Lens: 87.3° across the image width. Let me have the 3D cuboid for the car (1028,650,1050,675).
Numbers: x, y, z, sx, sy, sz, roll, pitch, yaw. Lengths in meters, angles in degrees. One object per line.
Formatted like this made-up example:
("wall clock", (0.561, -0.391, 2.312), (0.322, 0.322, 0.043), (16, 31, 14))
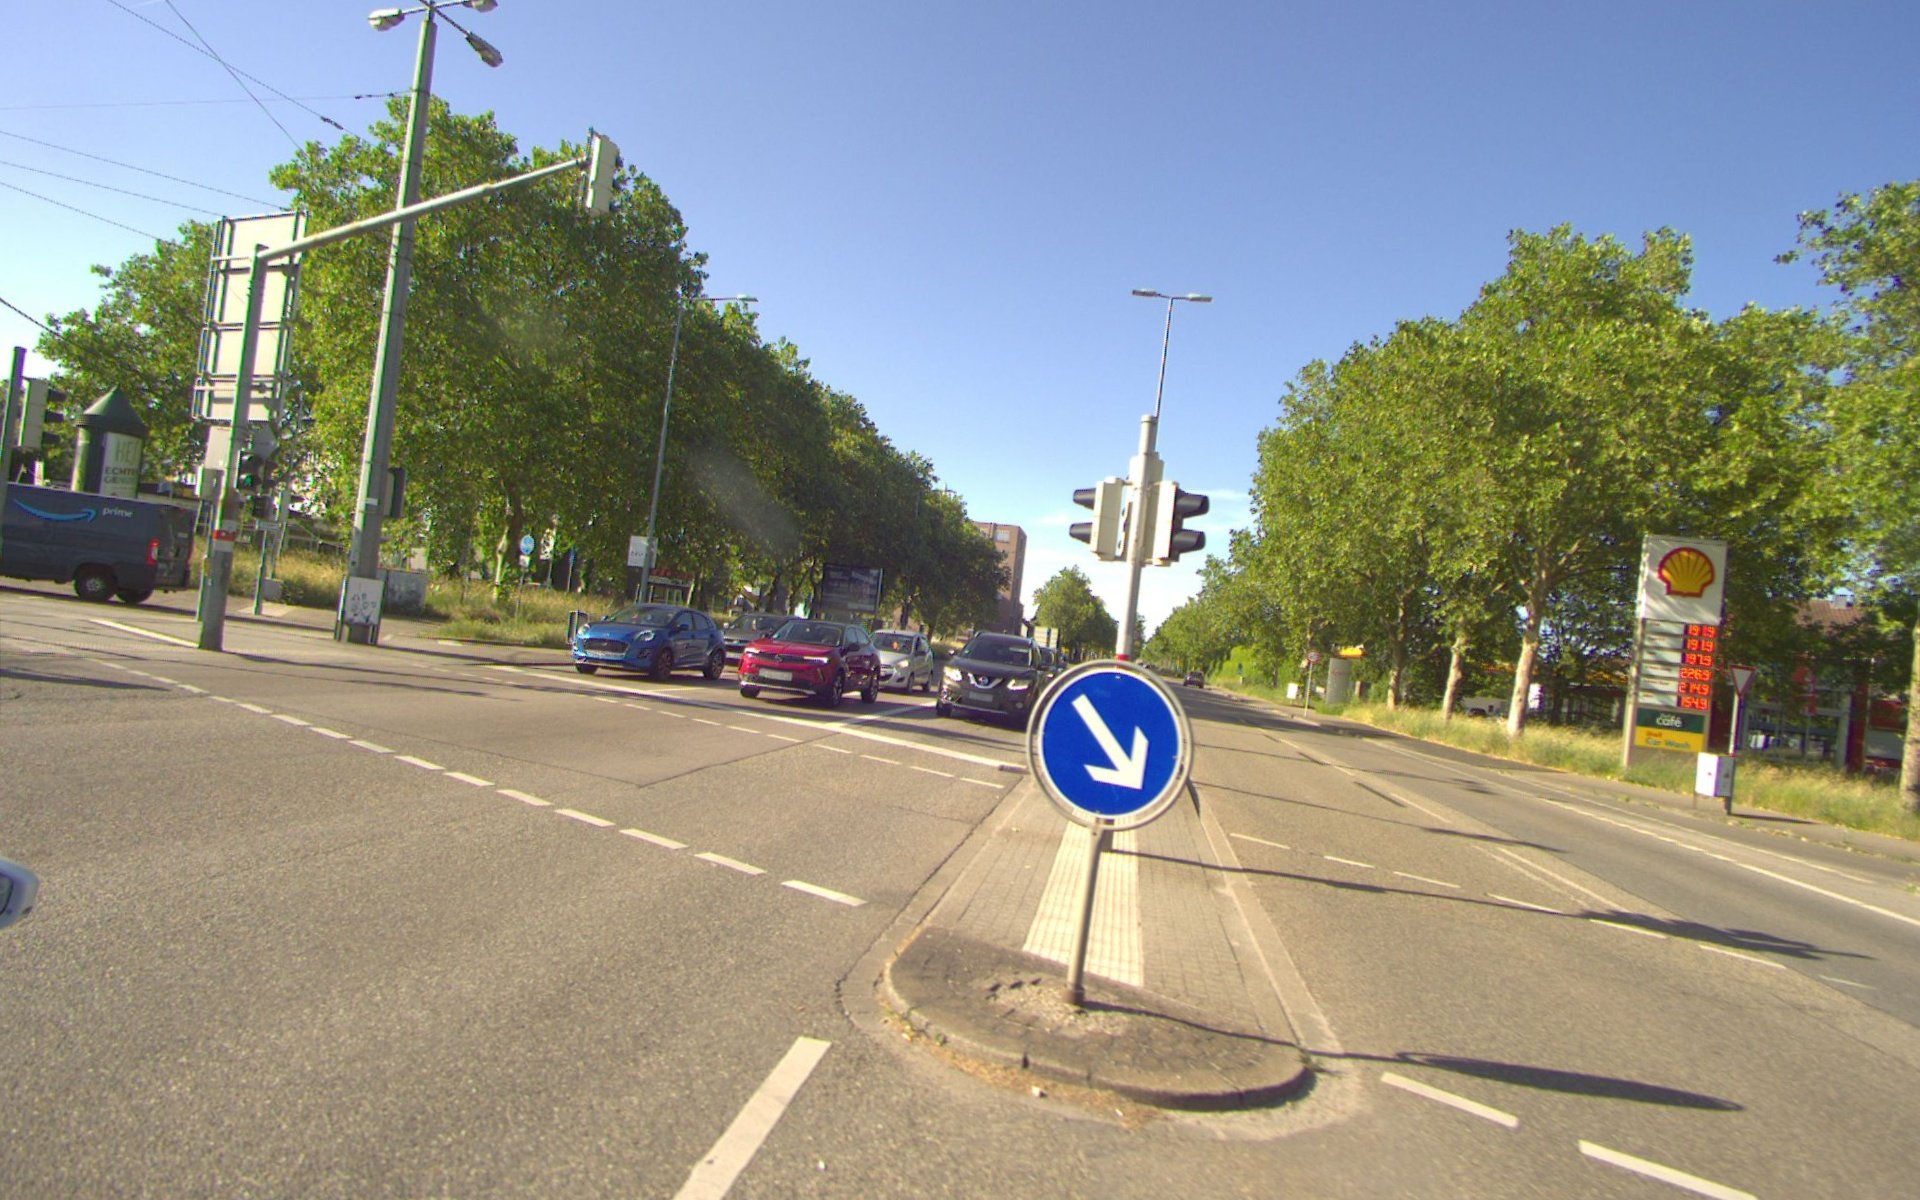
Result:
("car", (5.577, 4.393, 71.033), (1.346, 1.635, 3.213), (4, -2, 7))

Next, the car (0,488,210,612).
("car", (-19.269, -1.145, 21.152), (5.057, 2.094, 2.119), (8, -2, -25))

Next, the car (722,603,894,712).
("car", (-2.696, 1.083, 18.887), (1.781, 1.619, 4.095), (6, -2, 11))

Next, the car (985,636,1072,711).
("car", (1.959, 1.967, 27.531), (1.962, 1.636, 4.005), (7, -2, 8))

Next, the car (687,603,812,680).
("car", (-5.574, 1.147, 27.209), (1.898, 1.697, 4.180), (7, -2, 7))

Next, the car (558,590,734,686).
("car", (-6.317, 0.823, 20.724), (1.680, 1.619, 3.865), (6, -2, 11))

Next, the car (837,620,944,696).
("car", (-1.699, 1.507, 26.029), (1.680, 1.619, 3.865), (7, -2, 11))

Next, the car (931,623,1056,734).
("car", (0.792, 1.488, 19.841), (1.884, 1.731, 4.500), (6, -2, 7))

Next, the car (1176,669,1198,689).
("car", (22.547, 7.814, 99.830), (1.792, 1.723, 3.779), (7, -3, 11))

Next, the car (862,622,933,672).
("car", (-2.507, 2.016, 41.701), (1.872, 1.700, 4.786), (6, -4, 8))
